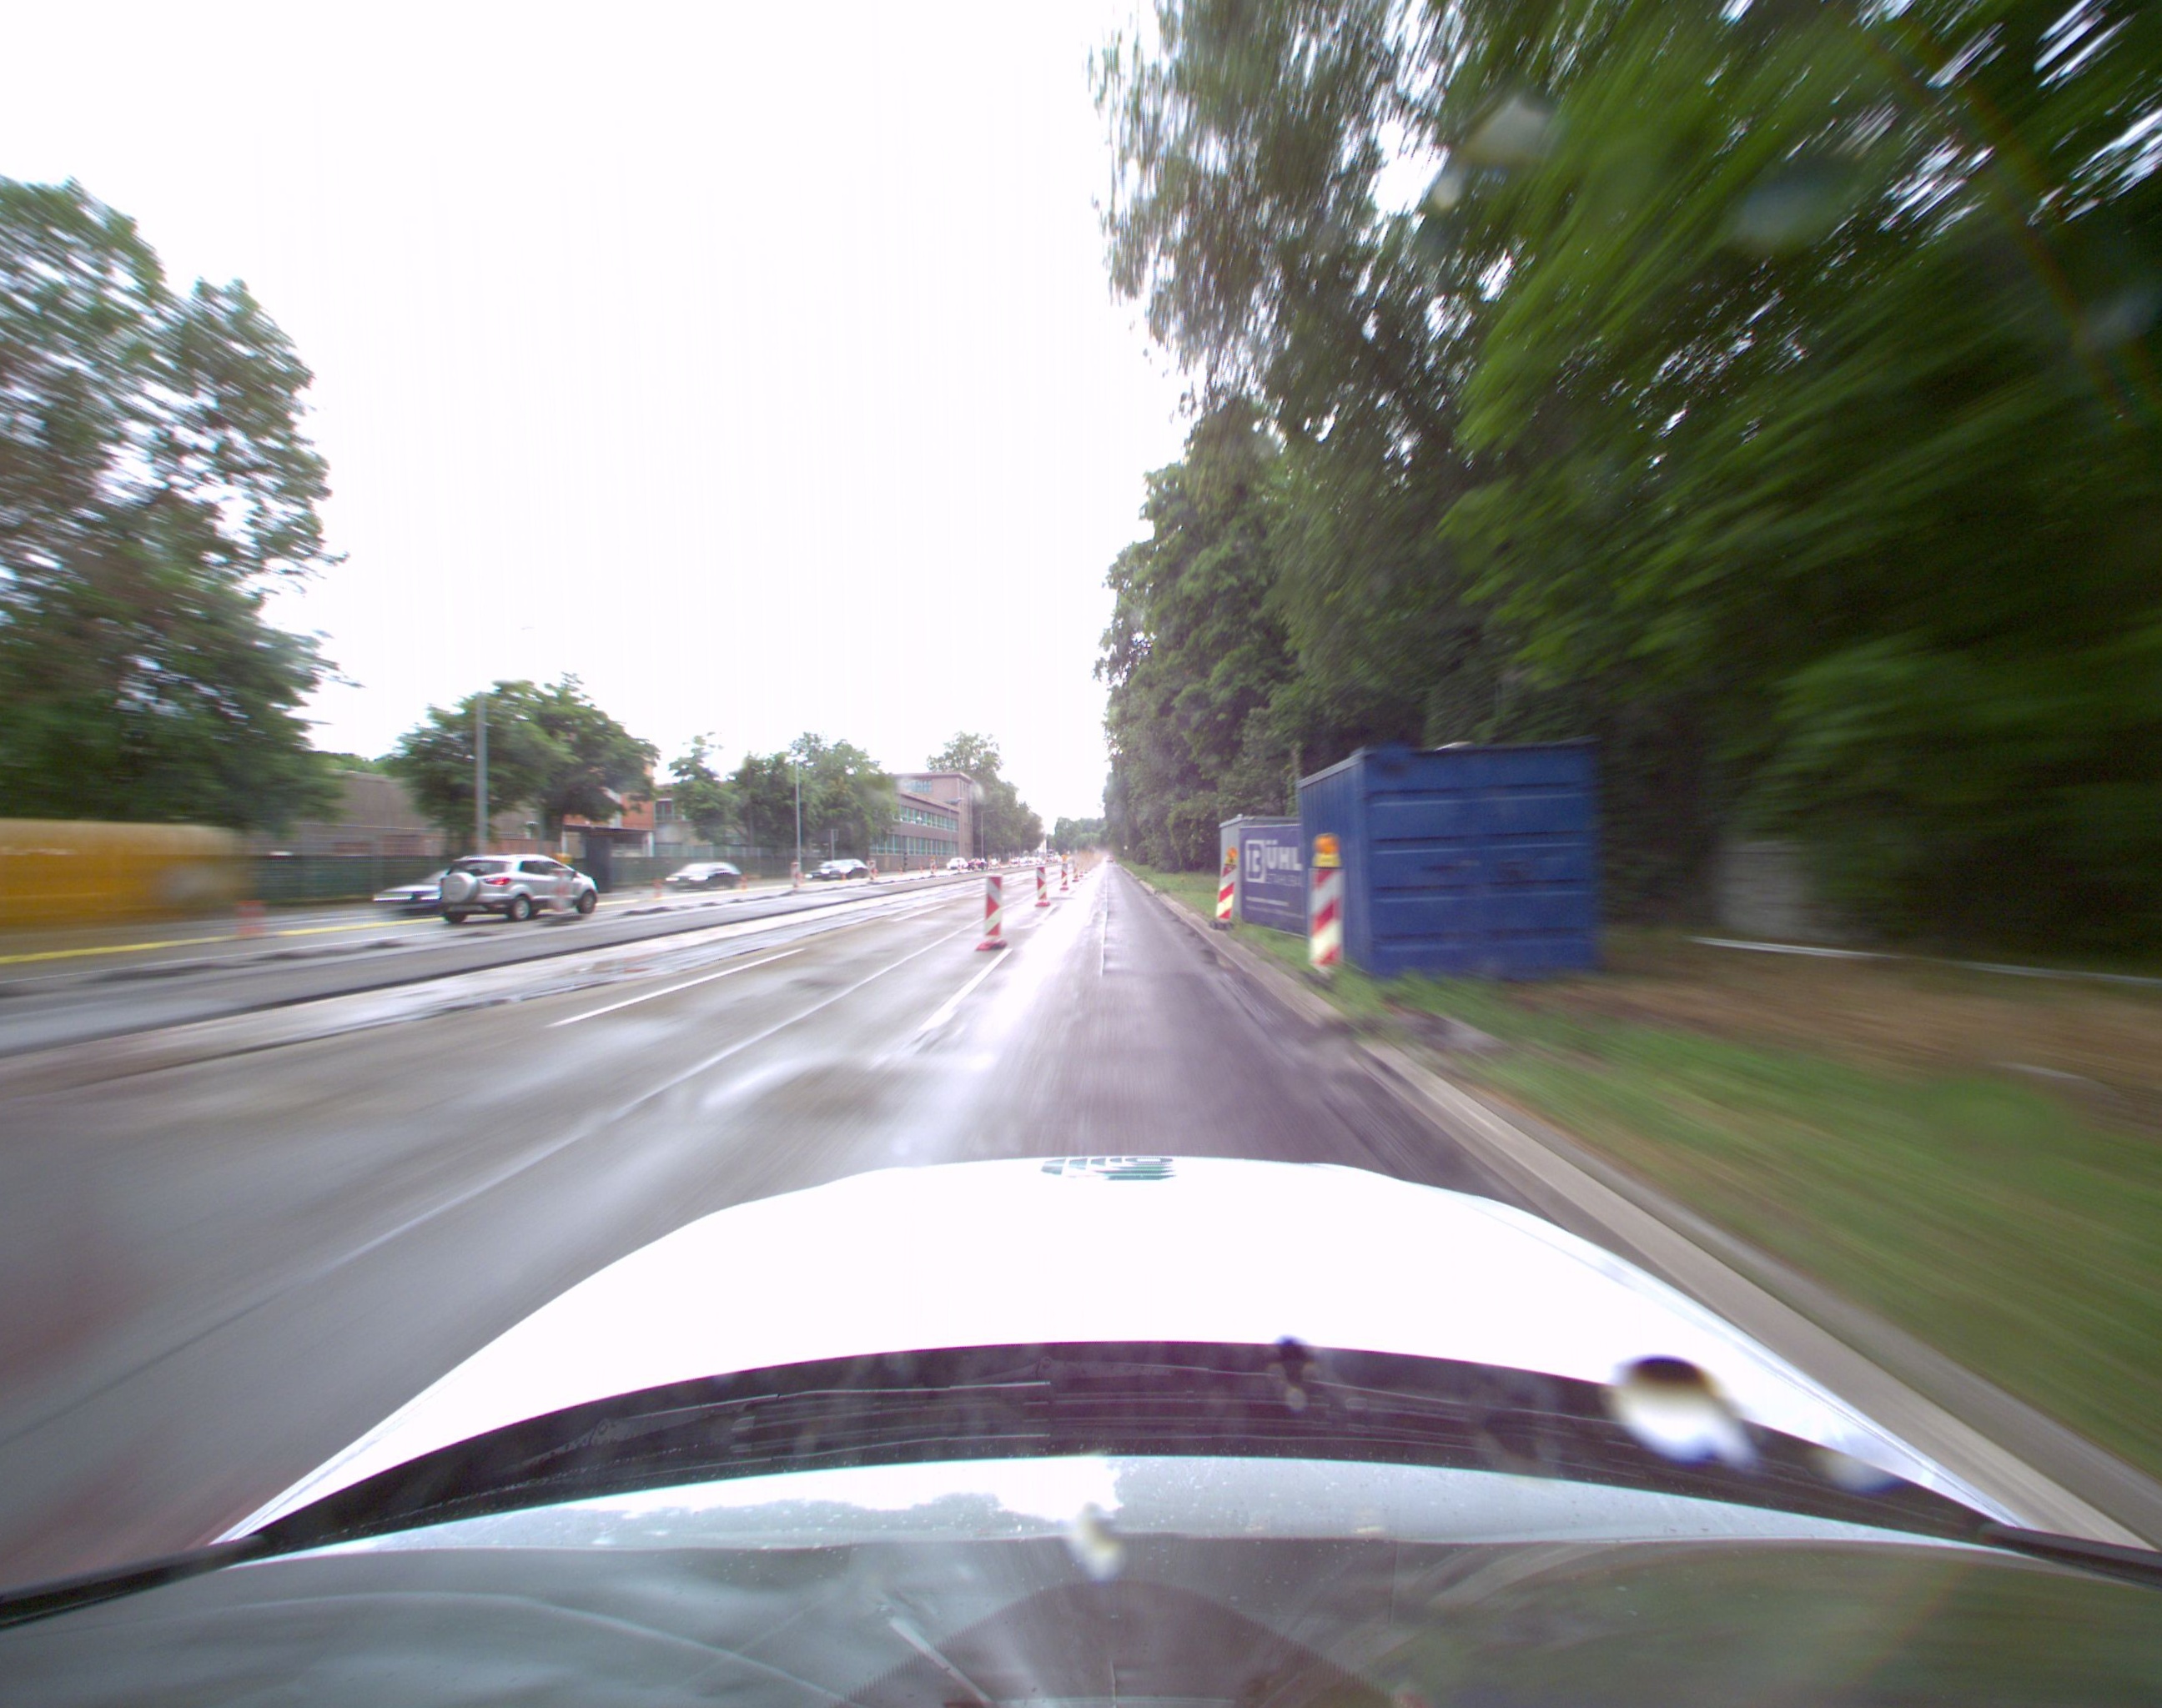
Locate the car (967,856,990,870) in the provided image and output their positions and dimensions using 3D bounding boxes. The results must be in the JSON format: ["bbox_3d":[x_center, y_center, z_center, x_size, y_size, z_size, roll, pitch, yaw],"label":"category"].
[{"bbox_3d":[-11.718,1.018,93.215,1.986,1.519,4.001,0,-1,1],"label":"car"}]

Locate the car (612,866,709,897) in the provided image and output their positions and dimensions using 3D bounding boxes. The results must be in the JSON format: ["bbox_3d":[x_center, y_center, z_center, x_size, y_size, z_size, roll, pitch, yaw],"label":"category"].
[{"bbox_3d":[-19.766,1.245,38.553,1.985,1.348,4.570,0,0,4],"label":"car"}]

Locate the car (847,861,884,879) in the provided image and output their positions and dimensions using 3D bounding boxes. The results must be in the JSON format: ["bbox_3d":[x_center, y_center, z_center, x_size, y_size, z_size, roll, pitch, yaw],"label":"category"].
[{"bbox_3d":[-18.702,1.361,70.870,1.986,1.518,4.306,0,-1,2],"label":"car"}]

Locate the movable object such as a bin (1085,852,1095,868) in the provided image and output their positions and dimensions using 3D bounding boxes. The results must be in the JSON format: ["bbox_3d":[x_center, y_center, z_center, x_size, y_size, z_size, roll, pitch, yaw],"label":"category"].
[{"bbox_3d":[1.879,1.305,171.007,1.986,3.367,5.985,0,-1,2],"label":"movable object such as a bin"}]

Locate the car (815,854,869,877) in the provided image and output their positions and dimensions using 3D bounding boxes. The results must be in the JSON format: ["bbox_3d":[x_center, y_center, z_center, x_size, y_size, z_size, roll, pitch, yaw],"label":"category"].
[{"bbox_3d":[-16.385,0.740,56.173,2.070,1.513,5.092,0,0,2],"label":"car"}]

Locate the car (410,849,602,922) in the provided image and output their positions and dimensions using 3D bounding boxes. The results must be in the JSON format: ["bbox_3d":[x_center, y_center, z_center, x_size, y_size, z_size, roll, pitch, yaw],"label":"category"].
[{"bbox_3d":[-14.116,0.725,20.336,1.847,1.648,4.001,0,-1,2],"label":"car"}]

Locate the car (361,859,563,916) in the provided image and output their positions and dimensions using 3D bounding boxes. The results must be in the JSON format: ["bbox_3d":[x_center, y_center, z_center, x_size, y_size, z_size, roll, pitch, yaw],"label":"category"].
[{"bbox_3d":[-17.392,0.876,23.286,1.987,1.459,4.884,0,0,1],"label":"car"}]

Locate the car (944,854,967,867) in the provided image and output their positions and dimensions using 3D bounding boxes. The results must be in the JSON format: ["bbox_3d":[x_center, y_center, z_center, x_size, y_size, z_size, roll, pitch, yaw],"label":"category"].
[{"bbox_3d":[-15.390,0.795,100.117,1.986,1.513,4.268,-1,0,2],"label":"car"}]

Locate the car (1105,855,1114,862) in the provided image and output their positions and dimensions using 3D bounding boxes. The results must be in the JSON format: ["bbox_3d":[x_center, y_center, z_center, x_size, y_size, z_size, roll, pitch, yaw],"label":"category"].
[{"bbox_3d":[6.882,1.043,195.368,1.986,1.673,4.002,0,-1,2],"label":"car"}]
